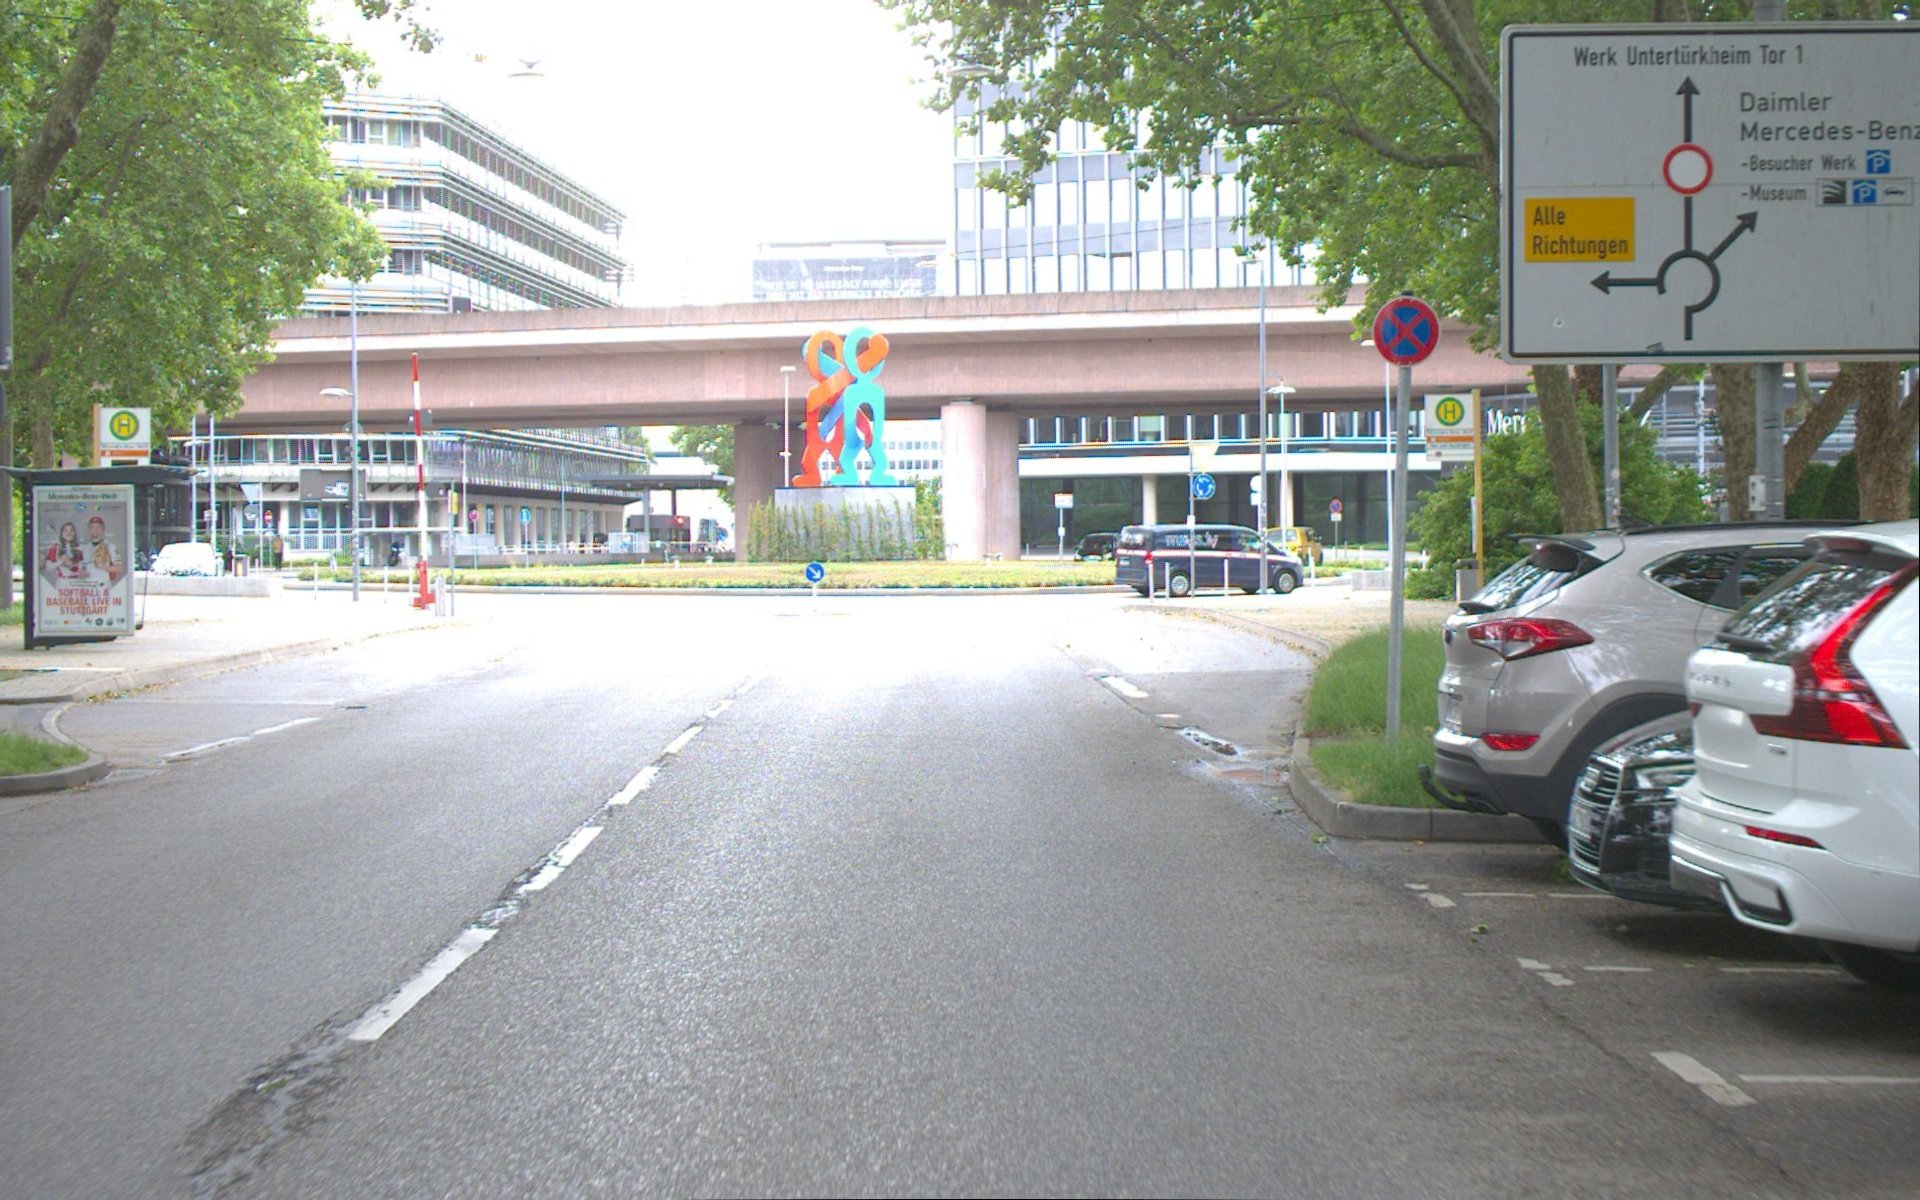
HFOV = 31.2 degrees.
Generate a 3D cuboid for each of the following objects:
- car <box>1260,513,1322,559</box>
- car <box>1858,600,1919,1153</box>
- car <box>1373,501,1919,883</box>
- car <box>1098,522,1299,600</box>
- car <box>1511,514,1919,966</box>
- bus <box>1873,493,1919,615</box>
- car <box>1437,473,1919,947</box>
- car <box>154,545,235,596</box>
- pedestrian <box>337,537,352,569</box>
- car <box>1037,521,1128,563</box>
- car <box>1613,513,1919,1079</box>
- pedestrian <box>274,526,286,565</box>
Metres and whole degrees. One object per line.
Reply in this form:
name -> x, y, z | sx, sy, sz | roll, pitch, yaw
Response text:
car -> 14.879, -2.856, 154.322 | 1.995, 2.007, 3.997 | 1, 1, 17
car -> 4.336, 0.766, 8.451 | 3.730, 1.398, 1.776 | 2, 1, -1
car -> 4.225, 0.394, 15.942 | 4.346, 1.628, 1.926 | 1, 2, 0
car -> 6.307, -1.017, 90.904 | 4.767, 2.007, 2.284 | 0, 1, -24
car -> 4.483, 0.508, 13.325 | 4.346, 1.599, 1.926 | 1, 2, 0
bus -> 35.679, -1.473, 112.853 | 11.044, 3.921, 2.759 | 0, 1, -14
car -> 4.348, 0.465, 15.796 | 3.987, 2.006, 2.000 | 1, 2, 0
car -> -23.520, -0.930, 105.740 | 1.900, 1.448, 4.816 | -2, 1, -7
pedestrian -> -39.159, -2.998, 218.875 | 0.776, 2.007, 0.671 | -1, 1, 0
car -> 5.301, -2.506, 148.509 | 1.998, 1.766, 3.991 | 1, 1, 37
car -> 4.456, 0.580, 10.943 | 4.346, 1.628, 1.926 | 1, 2, 0
pedestrian -> -35.333, -2.810, 178.539 | 0.588, 2.007, 0.599 | 0, 1, -12
